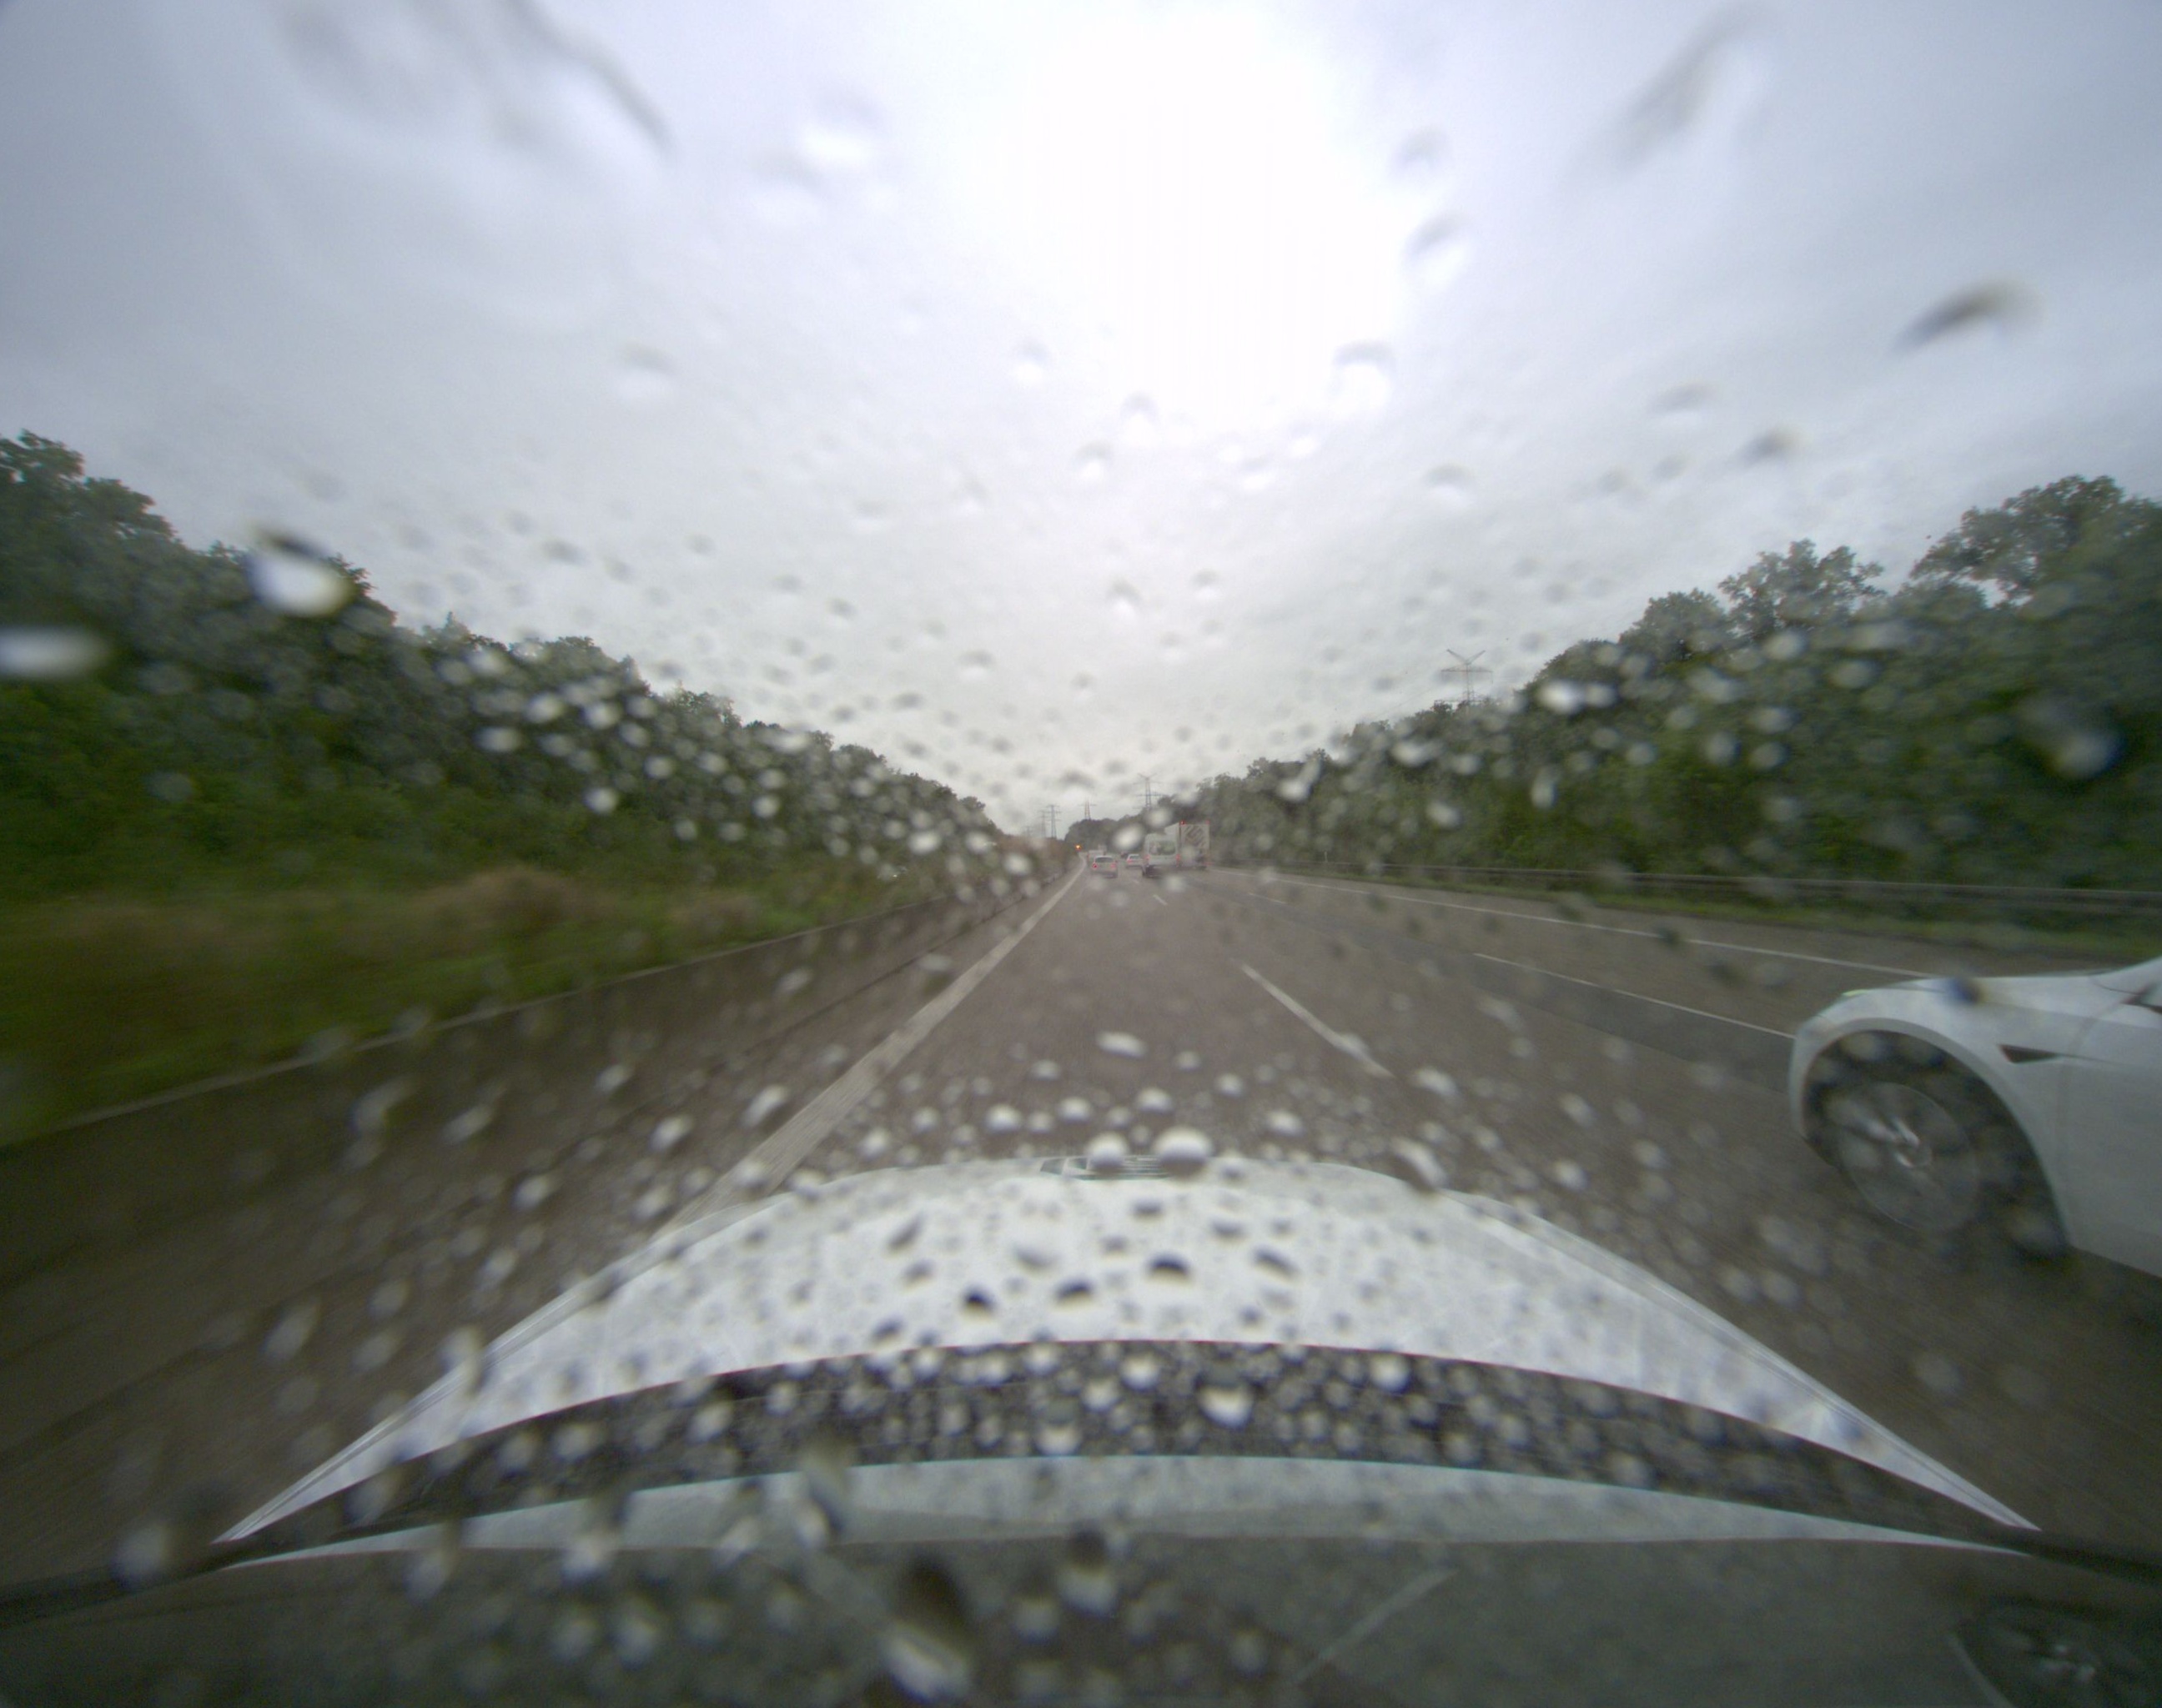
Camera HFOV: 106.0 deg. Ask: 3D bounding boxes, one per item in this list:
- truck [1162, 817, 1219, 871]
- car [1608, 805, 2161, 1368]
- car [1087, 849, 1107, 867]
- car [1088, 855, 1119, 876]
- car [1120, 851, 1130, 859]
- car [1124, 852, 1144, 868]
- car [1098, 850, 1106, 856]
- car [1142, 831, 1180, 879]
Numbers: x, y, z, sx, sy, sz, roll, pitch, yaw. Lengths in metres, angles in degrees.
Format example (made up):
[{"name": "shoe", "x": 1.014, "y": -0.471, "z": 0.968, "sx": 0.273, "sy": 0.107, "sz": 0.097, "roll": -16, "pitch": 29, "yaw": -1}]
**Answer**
[{"name": "truck", "x": 9.647, "y": -0.761, "z": 73.534, "sx": 3.590, "sy": 4.332, "sz": 13.204, "roll": -2, "pitch": 0, "yaw": 2}, {"name": "car", "x": 3.925, "y": 0.632, "z": 2.165, "sx": 1.854, "sy": 1.568, "sz": 4.963, "roll": -1, "pitch": 0, "yaw": 0}, {"name": "car", "x": 1.688, "y": 0.450, "z": 85.053, "sx": 1.838, "sy": 1.772, "sz": 4.003, "roll": -2, "pitch": 0, "yaw": 3}, {"name": "car", "x": 1.527, "y": 0.732, "z": 53.614, "sx": 1.859, "sy": 1.288, "sz": 4.003, "roll": -2, "pitch": 0, "yaw": 3}, {"name": "car", "x": 9.670, "y": 0.226, "z": 178.102, "sx": 1.985, "sy": 1.486, "sz": 4.003, "roll": -4, "pitch": -1, "yaw": 3}, {"name": "car", "x": 5.179, "y": 0.588, "z": 78.679, "sx": 1.848, "sy": 1.422, "sz": 4.005, "roll": -1, "pitch": 0, "yaw": 4}, {"name": "car", "x": 5.658, "y": -0.328, "z": 219.465, "sx": 1.985, "sy": 1.574, "sz": 4.003, "roll": -3, "pitch": -1, "yaw": 3}, {"name": "car", "x": 4.996, "y": 0.066, "z": 51.265, "sx": 1.986, "sy": 2.864, "sz": 4.001, "roll": -2, "pitch": 0, "yaw": 2}]
